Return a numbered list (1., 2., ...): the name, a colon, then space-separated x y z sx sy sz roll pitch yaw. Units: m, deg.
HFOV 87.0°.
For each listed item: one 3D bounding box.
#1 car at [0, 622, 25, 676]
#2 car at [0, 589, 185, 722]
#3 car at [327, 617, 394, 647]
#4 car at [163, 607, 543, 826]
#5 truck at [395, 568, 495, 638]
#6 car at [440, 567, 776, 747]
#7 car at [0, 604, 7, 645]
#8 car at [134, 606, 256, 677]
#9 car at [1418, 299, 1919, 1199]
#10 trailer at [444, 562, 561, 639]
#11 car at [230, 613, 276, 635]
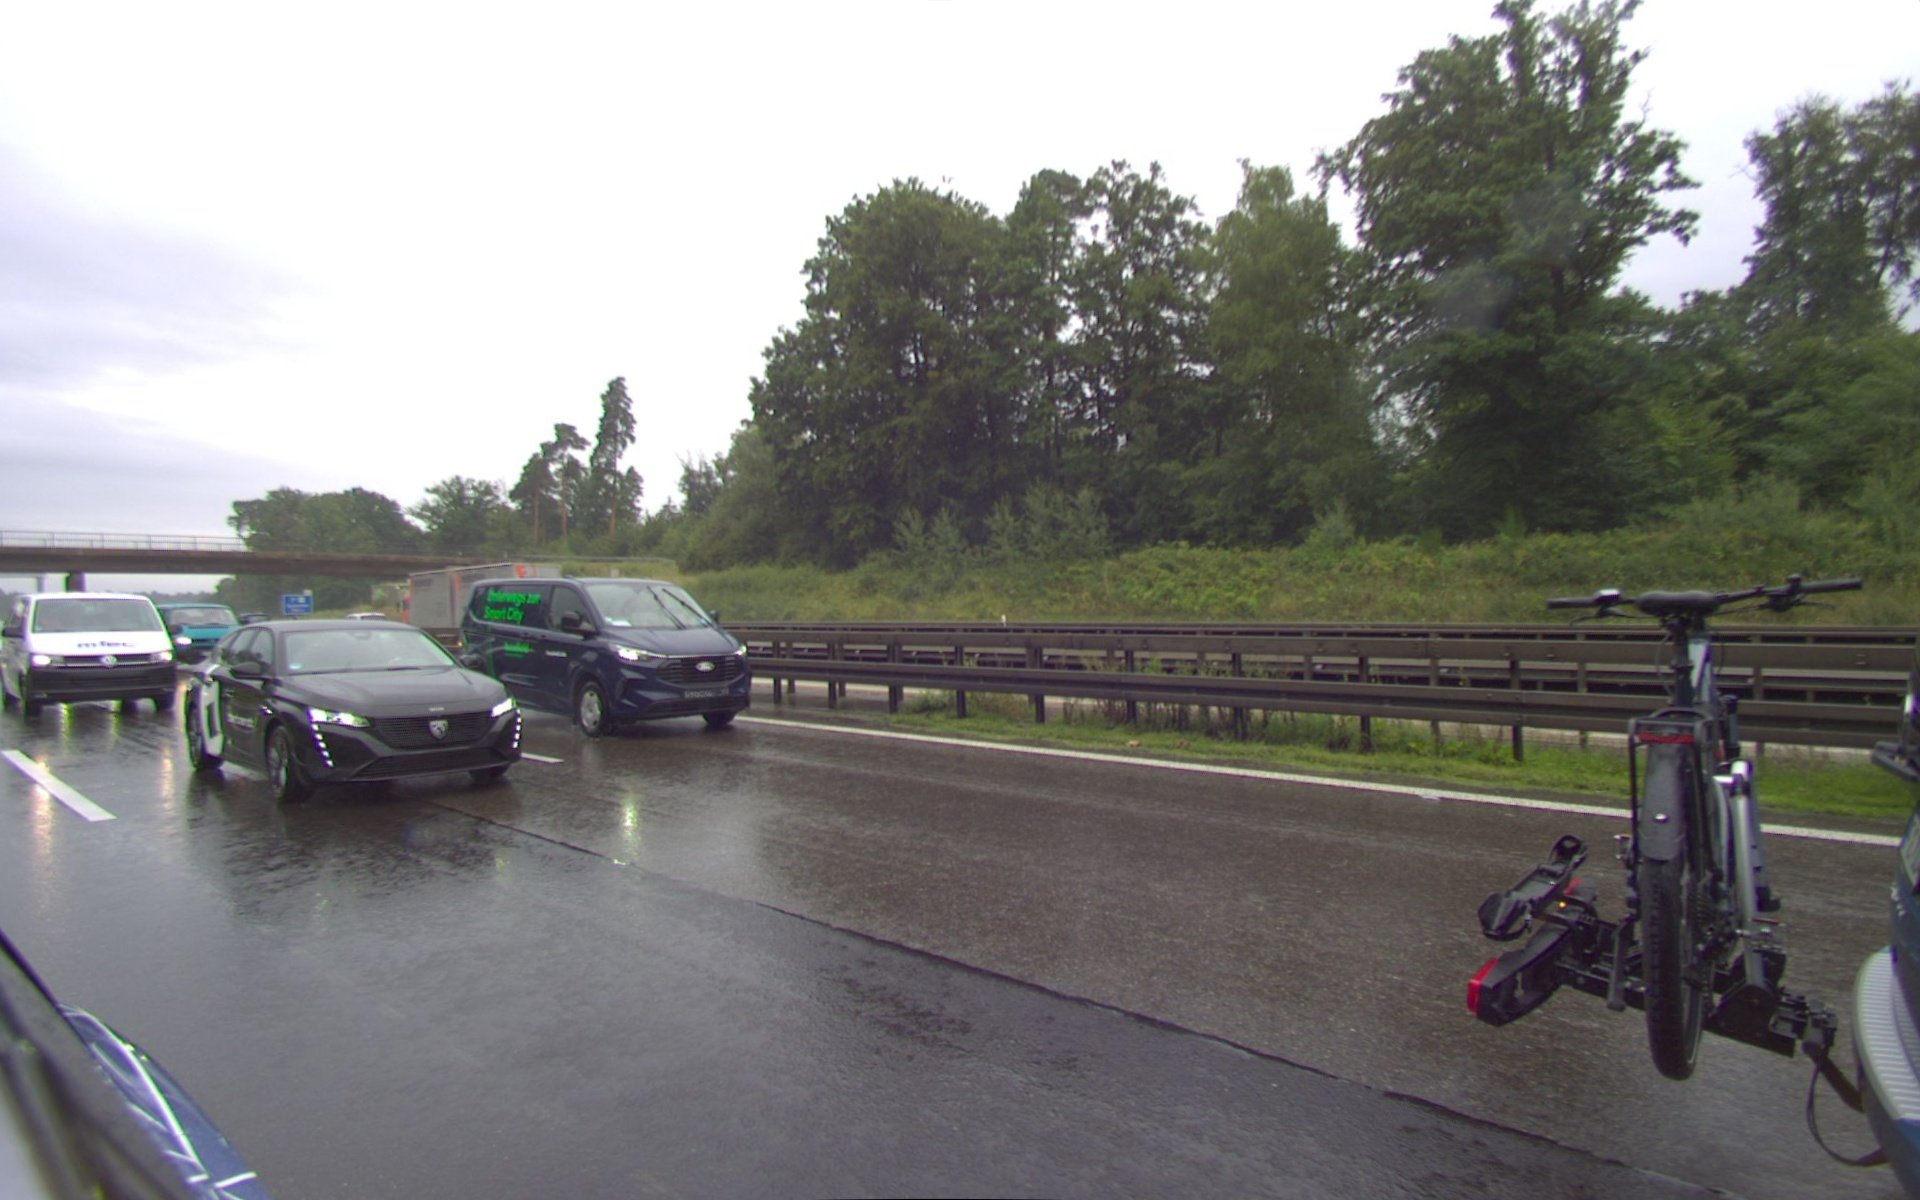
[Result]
1. car: -28.973 1.433 29.760 4.466 1.516 1.825 -1 -1 43
2. car: -14.568 0.835 16.771 4.767 1.894 1.968 -2 -1 43
3. car: -31.946 1.697 53.863 4.329 1.509 1.817 -2 -1 41
4. car: -5.713 0.861 9.257 4.466 1.516 1.825 -2 -1 43
5. truck: -31.572 0.241 61.746 2.672 3.961 10.035 0 -1 -44
6. car: -4.873 0.643 13.522 5.241 1.958 1.970 -1 0 42
7. car: -39.068 0.996 39.820 4.766 1.572 1.968 -2 -1 43
8. car: -22.416 1.153 29.593 4.756 1.877 1.891 -1 0 41
9. car: 3.586 0.427 1.267 5.016 1.926 2.244 -2 -1 44
10. trailer: -25.038 0.104 55.107 9.009 3.847 2.653 -2 -1 44
11. car: -49.721 1.686 71.164 4.332 1.509 1.816 -2 -1 43
